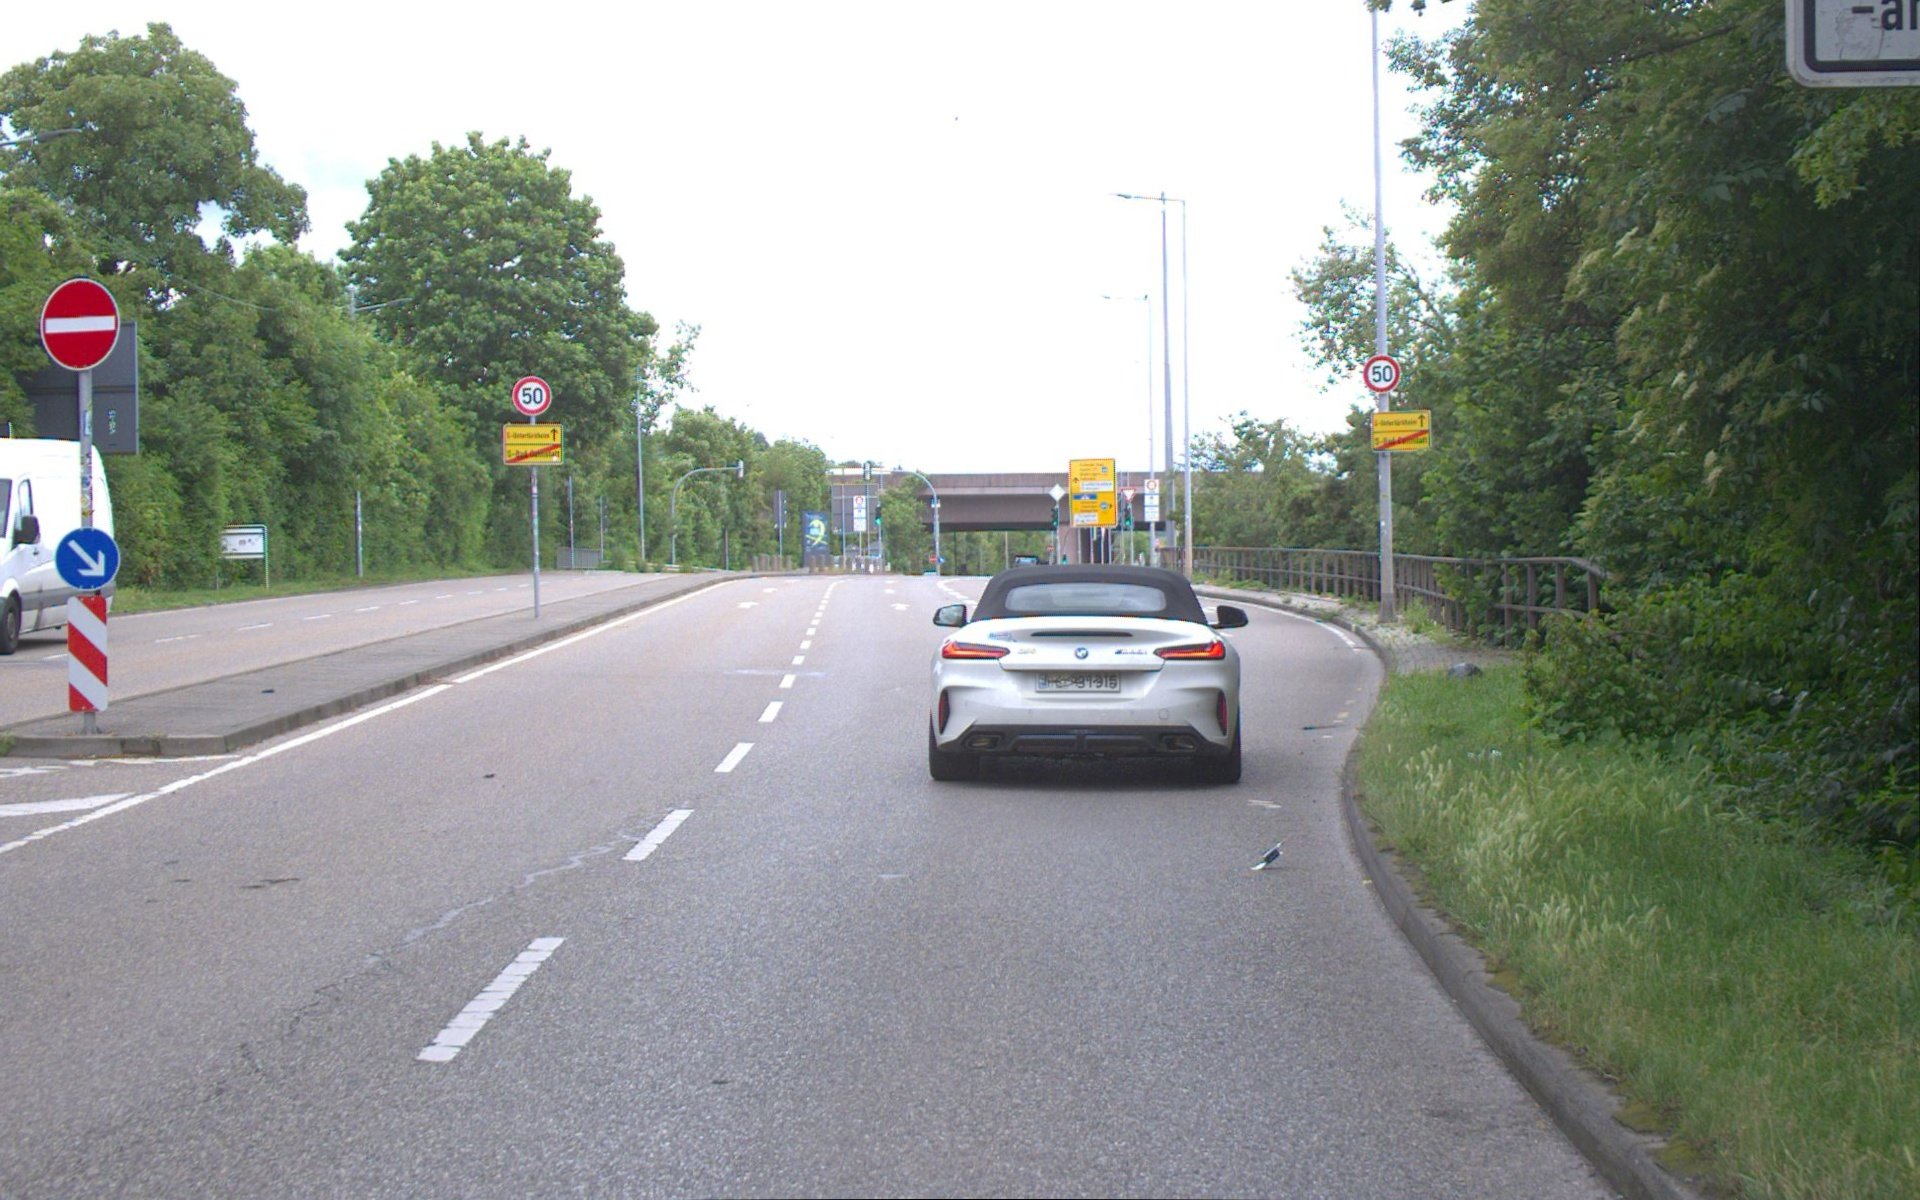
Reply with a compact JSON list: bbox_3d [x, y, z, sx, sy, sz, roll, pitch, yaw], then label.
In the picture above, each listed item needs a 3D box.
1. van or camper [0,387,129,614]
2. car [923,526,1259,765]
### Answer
[{"bbox_3d":[-11.998,-1.282,41.692,2.282,2.546,6.861,3,2,-2],"label":"van or camper"},{"bbox_3d":[0.726,0.222,21.566,1.875,1.304,3.873,1,2,-1],"label":"car"}]
